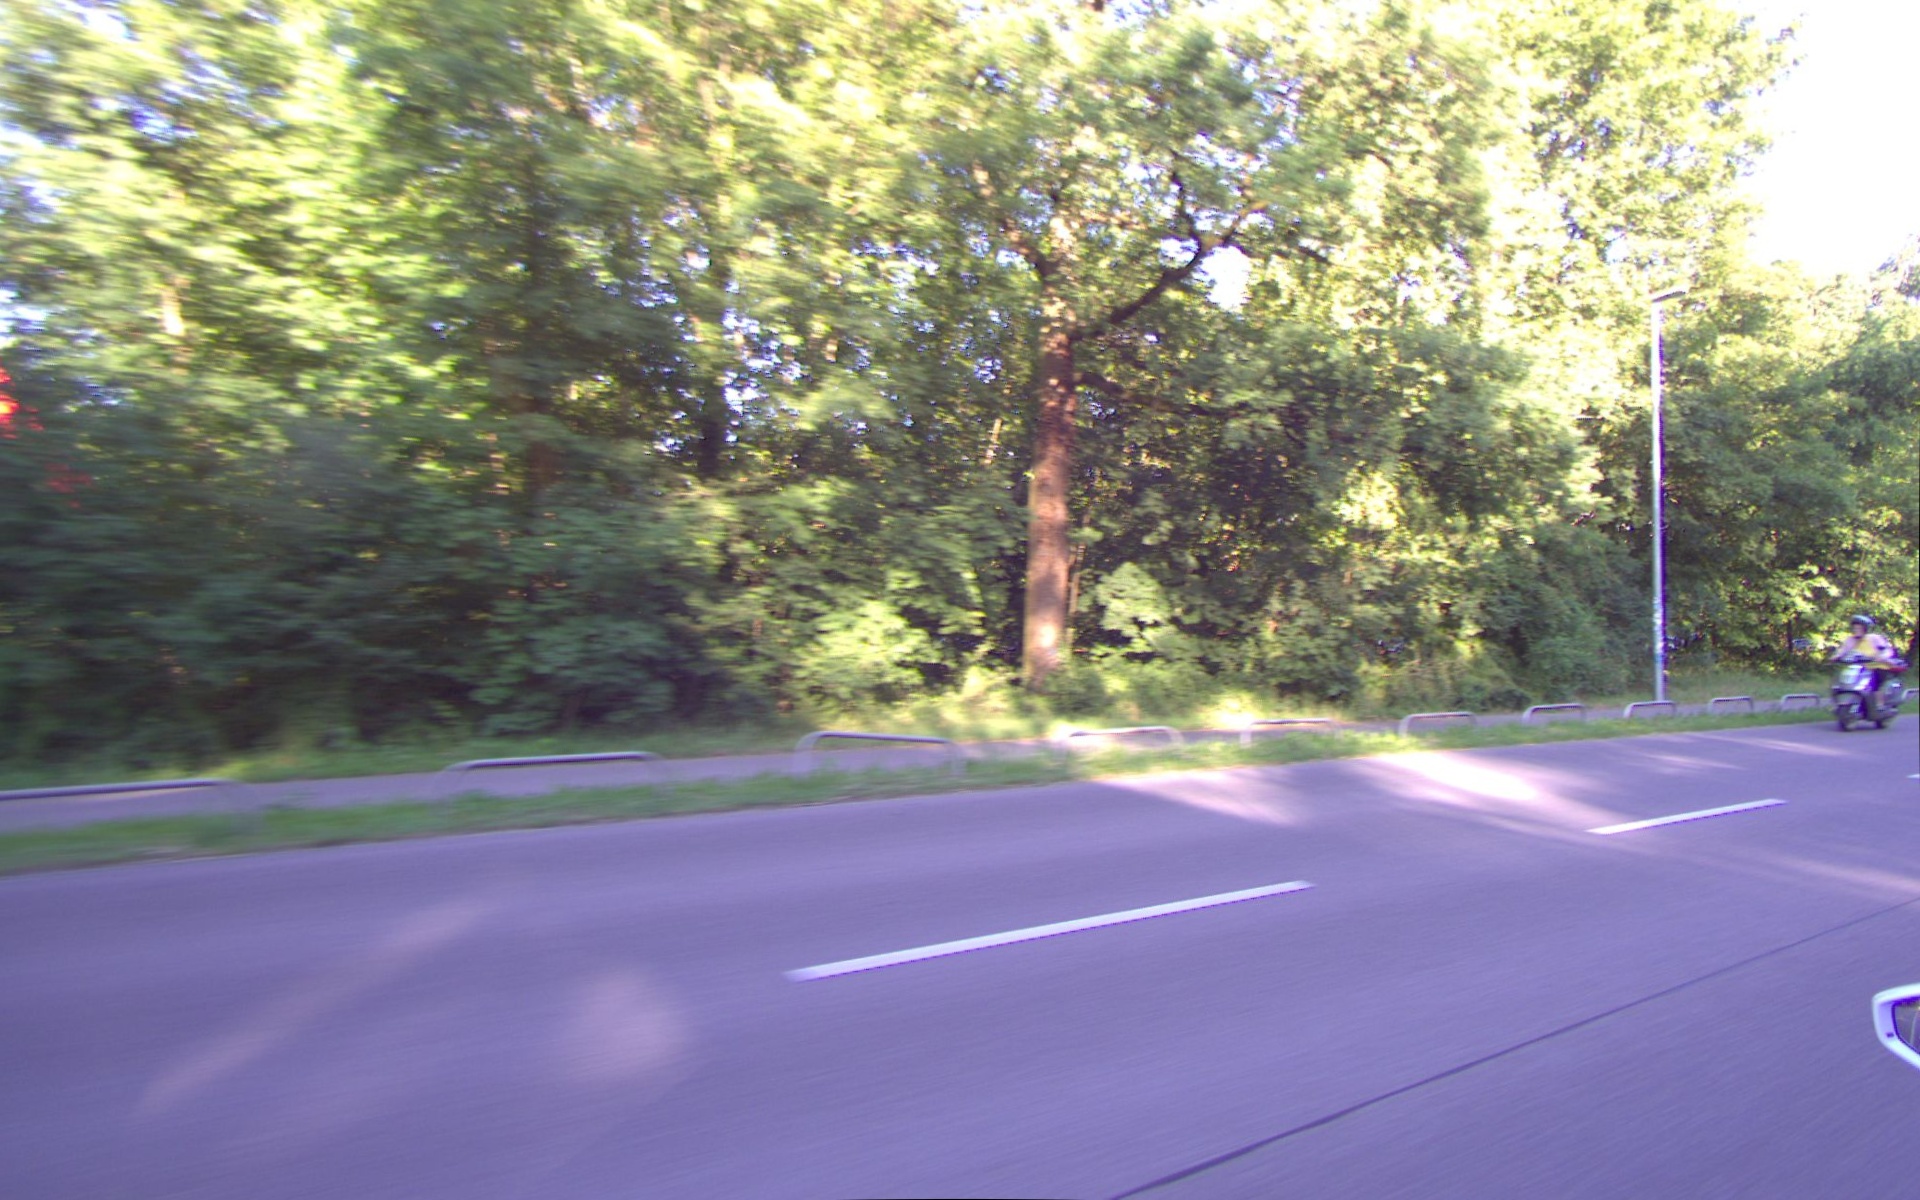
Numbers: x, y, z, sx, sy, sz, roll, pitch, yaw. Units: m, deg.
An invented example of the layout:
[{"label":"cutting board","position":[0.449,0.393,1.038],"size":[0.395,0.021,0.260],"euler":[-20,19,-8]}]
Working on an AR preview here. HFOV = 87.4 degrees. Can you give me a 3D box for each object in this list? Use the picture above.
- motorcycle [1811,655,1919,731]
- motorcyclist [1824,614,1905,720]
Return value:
[{"label":"motorcycle","position":[13.457,1.349,14.903],"size":[2.053,1.008,0.633],"euler":[1,0,-31]},{"label":"motorcyclist","position":[13.411,0.972,14.902],"size":[0.664,1.525,0.721],"euler":[1,-1,-30]}]
